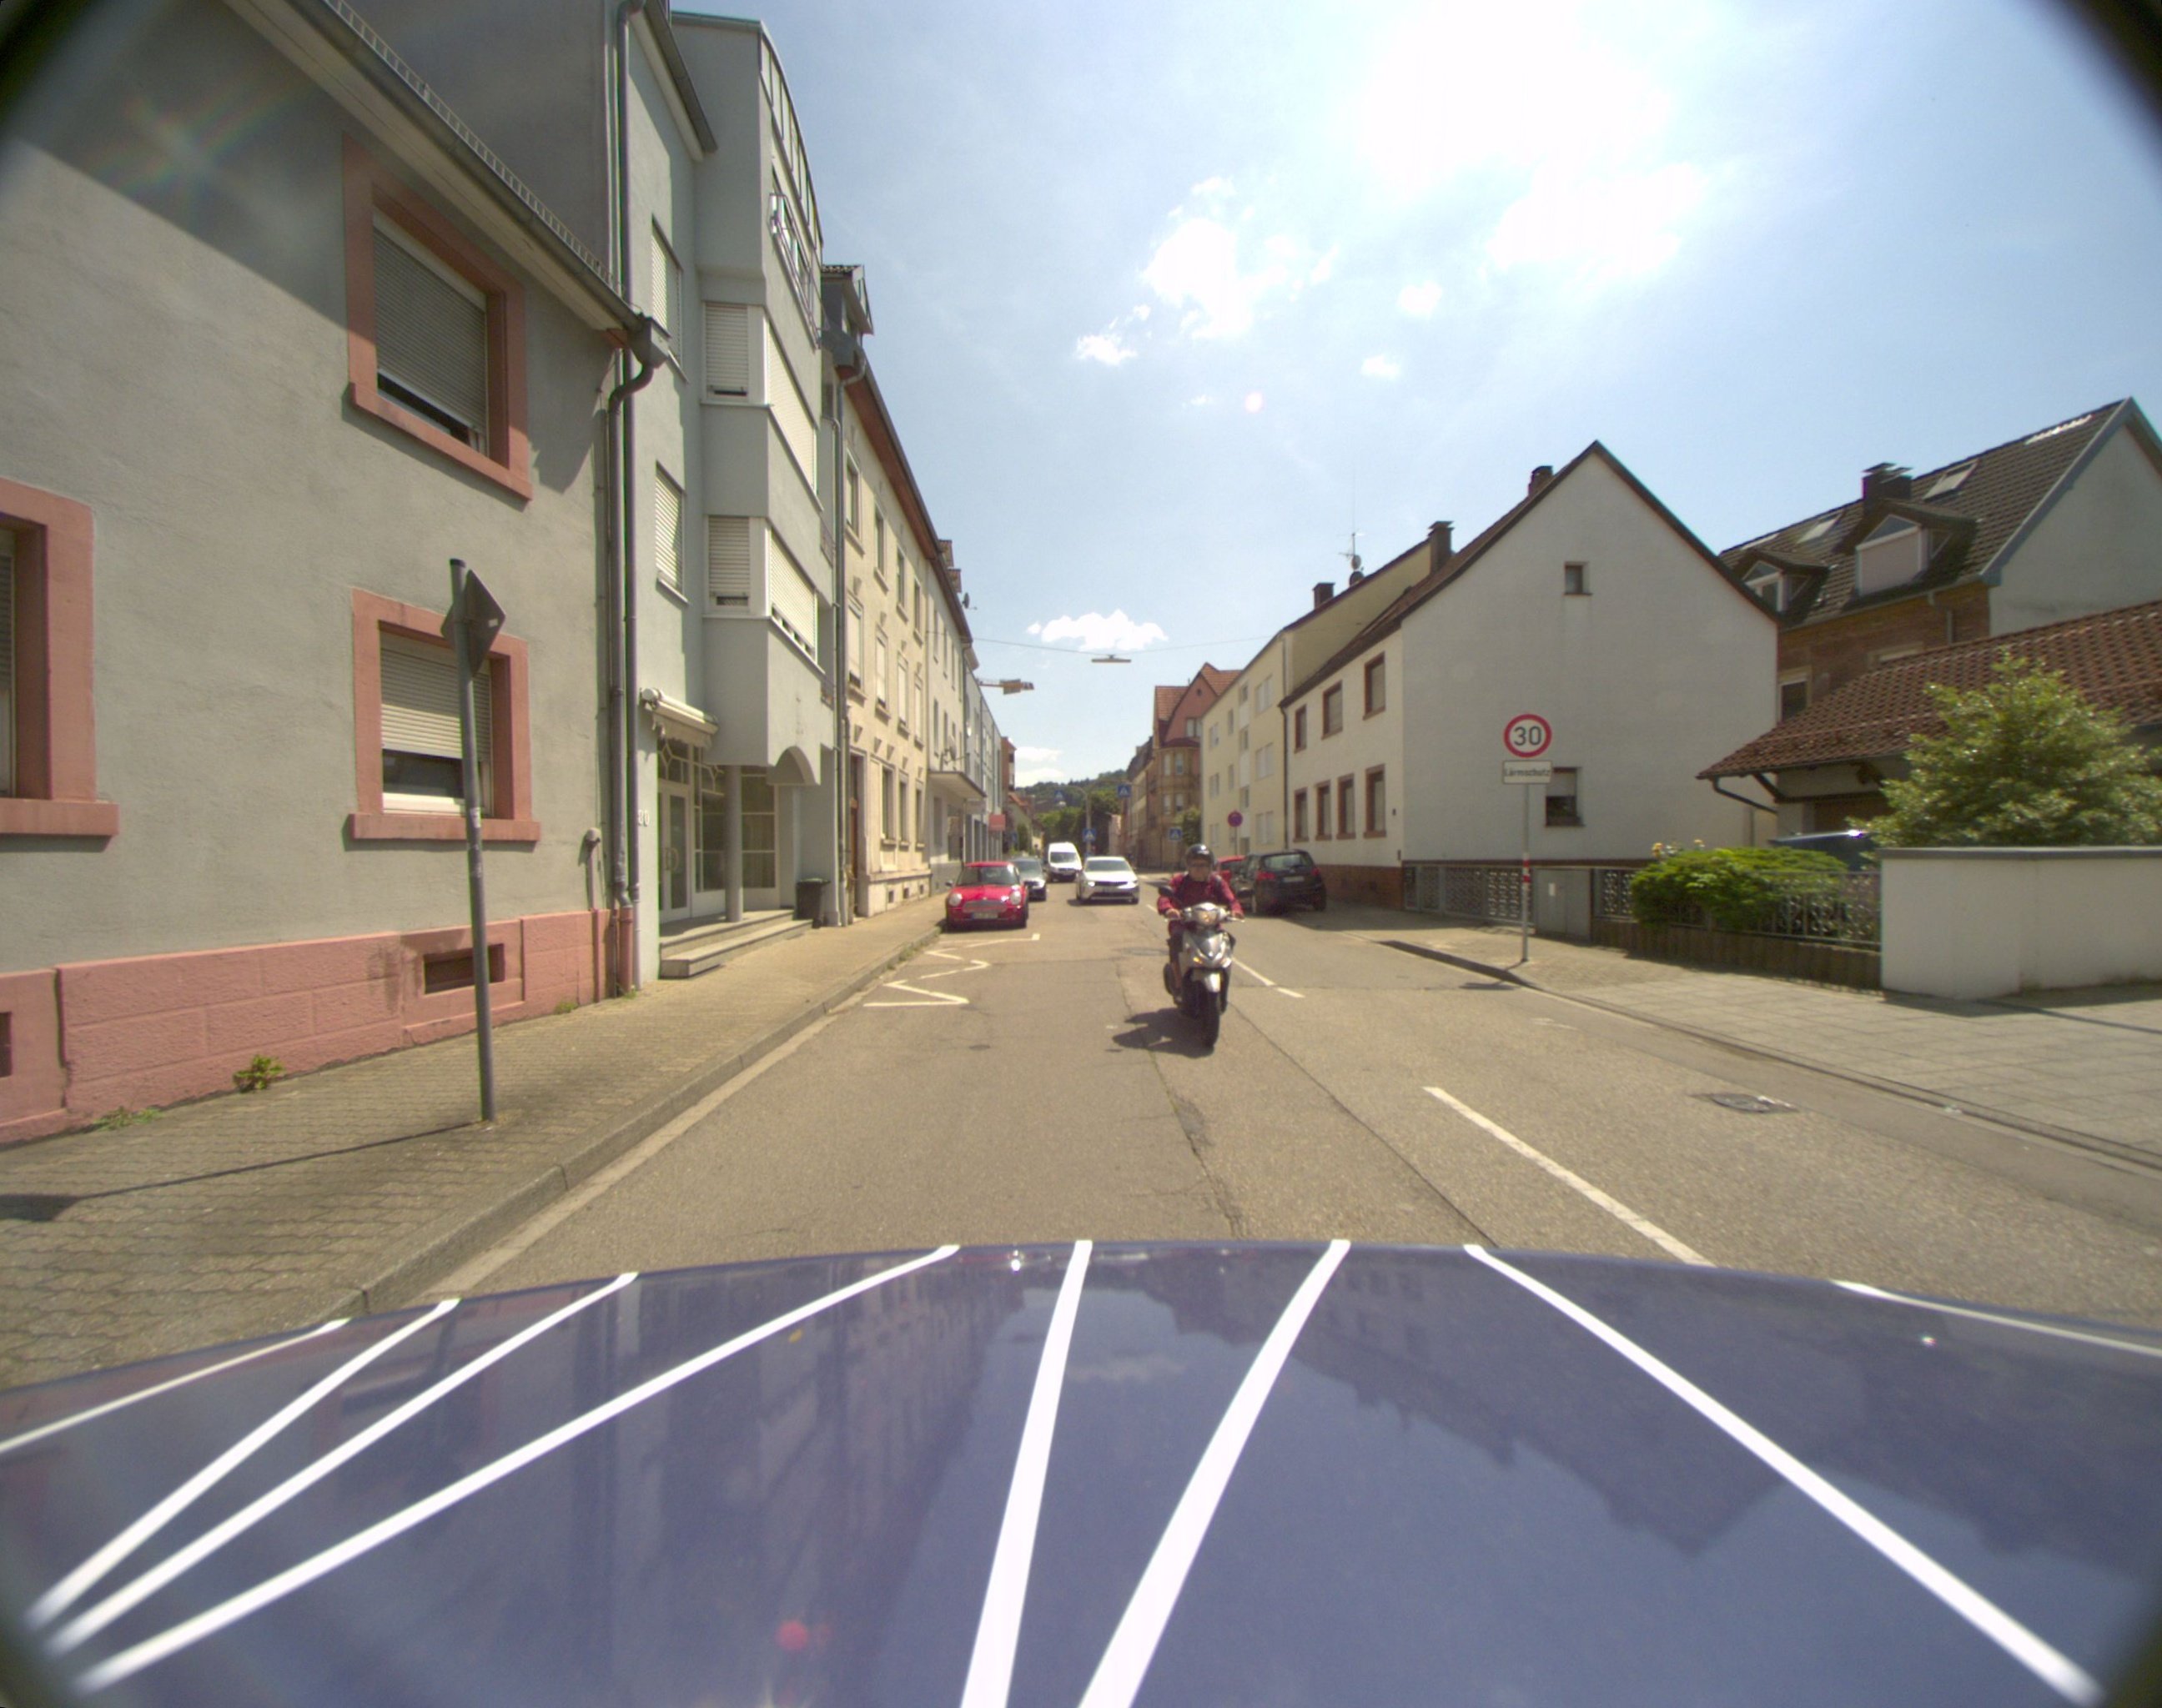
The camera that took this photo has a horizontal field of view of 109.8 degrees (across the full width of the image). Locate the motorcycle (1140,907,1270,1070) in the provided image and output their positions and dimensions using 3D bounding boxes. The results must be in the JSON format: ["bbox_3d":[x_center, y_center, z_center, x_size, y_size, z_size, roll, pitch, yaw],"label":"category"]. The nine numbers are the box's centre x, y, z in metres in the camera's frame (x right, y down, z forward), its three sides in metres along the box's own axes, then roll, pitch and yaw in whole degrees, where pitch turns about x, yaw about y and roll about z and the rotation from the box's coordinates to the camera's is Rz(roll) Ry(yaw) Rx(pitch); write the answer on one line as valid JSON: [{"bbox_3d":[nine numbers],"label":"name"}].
[{"bbox_3d":[0.991,1.059,6.583,0.760,1.049,1.991,-1,0,-1],"label":"motorcycle"}]

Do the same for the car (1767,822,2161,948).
[{"bbox_3d":[12.365,0.405,11.023,3.554,1.530,1.641,-2,1,42],"label":"car"}]

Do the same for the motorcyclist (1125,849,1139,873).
[{"bbox_3d":[3.285,0.434,49.297,0.824,1.500,1.056,0,1,1],"label":"motorcyclist"}]

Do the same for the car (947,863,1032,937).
[{"bbox_3d":[-1.941,0.940,16.918,1.623,1.377,3.537,-1,0,-3],"label":"car"}]

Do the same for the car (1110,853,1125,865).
[{"bbox_3d":[4.319,0.593,90.271,1.602,1.433,3.494,0,0,-2],"label":"car"}]

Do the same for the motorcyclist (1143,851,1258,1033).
[{"bbox_3d":[0.995,0.702,6.562,0.793,1.431,1.020,-1,0,-1],"label":"motorcyclist"}]

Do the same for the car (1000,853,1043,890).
[{"bbox_3d":[-2.610,0.745,34.046,1.714,1.499,3.999,-1,1,-1],"label":"car"}]

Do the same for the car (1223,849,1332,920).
[{"bbox_3d":[5.085,0.722,20.207,1.799,1.637,3.944,-2,1,-1],"label":"car"}]

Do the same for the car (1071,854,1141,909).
[{"bbox_3d":[0.680,0.784,23.638,1.812,1.512,3.999,-1,0,-3],"label":"car"}]

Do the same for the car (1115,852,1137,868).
[{"bbox_3d":[4.166,0.543,70.372,1.787,1.450,4.634,0,1,1],"label":"car"}]

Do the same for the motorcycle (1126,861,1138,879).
[{"bbox_3d":[3.302,1.022,49.285,0.689,1.116,2.028,0,0,1],"label":"motorcycle"}]

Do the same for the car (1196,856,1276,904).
[{"bbox_3d":[5.002,0.788,25.059,1.838,1.408,4.289,-1,1,1],"label":"car"}]

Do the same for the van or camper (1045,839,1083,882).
[{"bbox_3d":[-0.965,0.348,43.129,1.999,2.273,5.143,0,0,-1],"label":"van or camper"}]

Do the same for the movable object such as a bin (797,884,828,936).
[{"bbox_3d":[-5.061,1.047,14.334,0.474,0.929,0.487,0,1,-9],"label":"movable object such as a bin"}]

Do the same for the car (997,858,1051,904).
[{"bbox_3d":[-1.976,0.886,26.856,1.734,1.412,4.543,-1,0,-3],"label":"car"}]
